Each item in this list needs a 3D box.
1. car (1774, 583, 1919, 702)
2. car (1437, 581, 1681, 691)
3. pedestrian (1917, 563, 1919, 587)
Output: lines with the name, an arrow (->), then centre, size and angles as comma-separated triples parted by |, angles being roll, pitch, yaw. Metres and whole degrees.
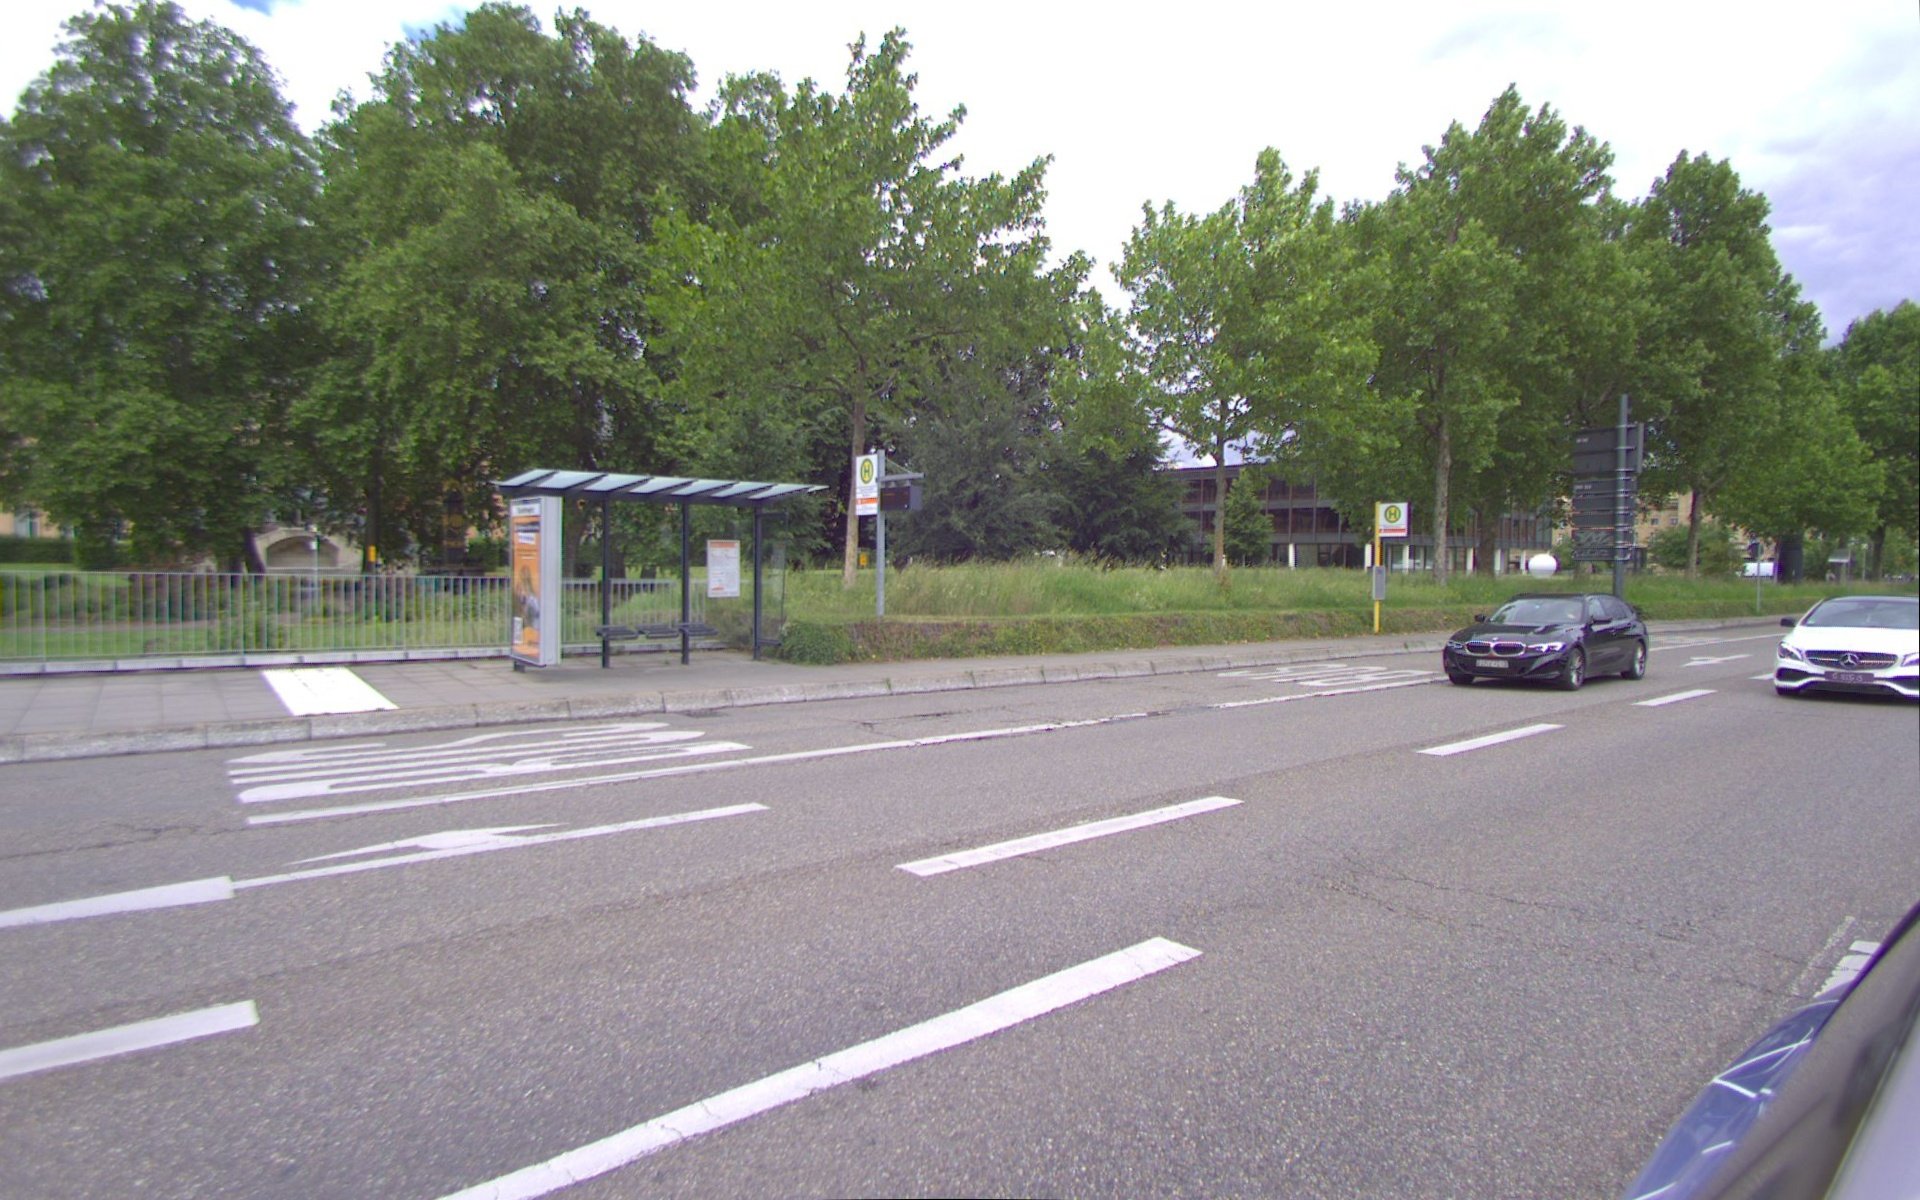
car -> 13.330, 0.495, 14.445 | 4.446, 1.437, 1.799 | -1, 2, -39
car -> 9.721, 0.467, 16.301 | 4.446, 1.478, 1.936 | -2, 1, -39
pedestrian -> 84.641, -2.201, 88.729 | 1.160, 2.039, 0.891 | -2, 1, -40
